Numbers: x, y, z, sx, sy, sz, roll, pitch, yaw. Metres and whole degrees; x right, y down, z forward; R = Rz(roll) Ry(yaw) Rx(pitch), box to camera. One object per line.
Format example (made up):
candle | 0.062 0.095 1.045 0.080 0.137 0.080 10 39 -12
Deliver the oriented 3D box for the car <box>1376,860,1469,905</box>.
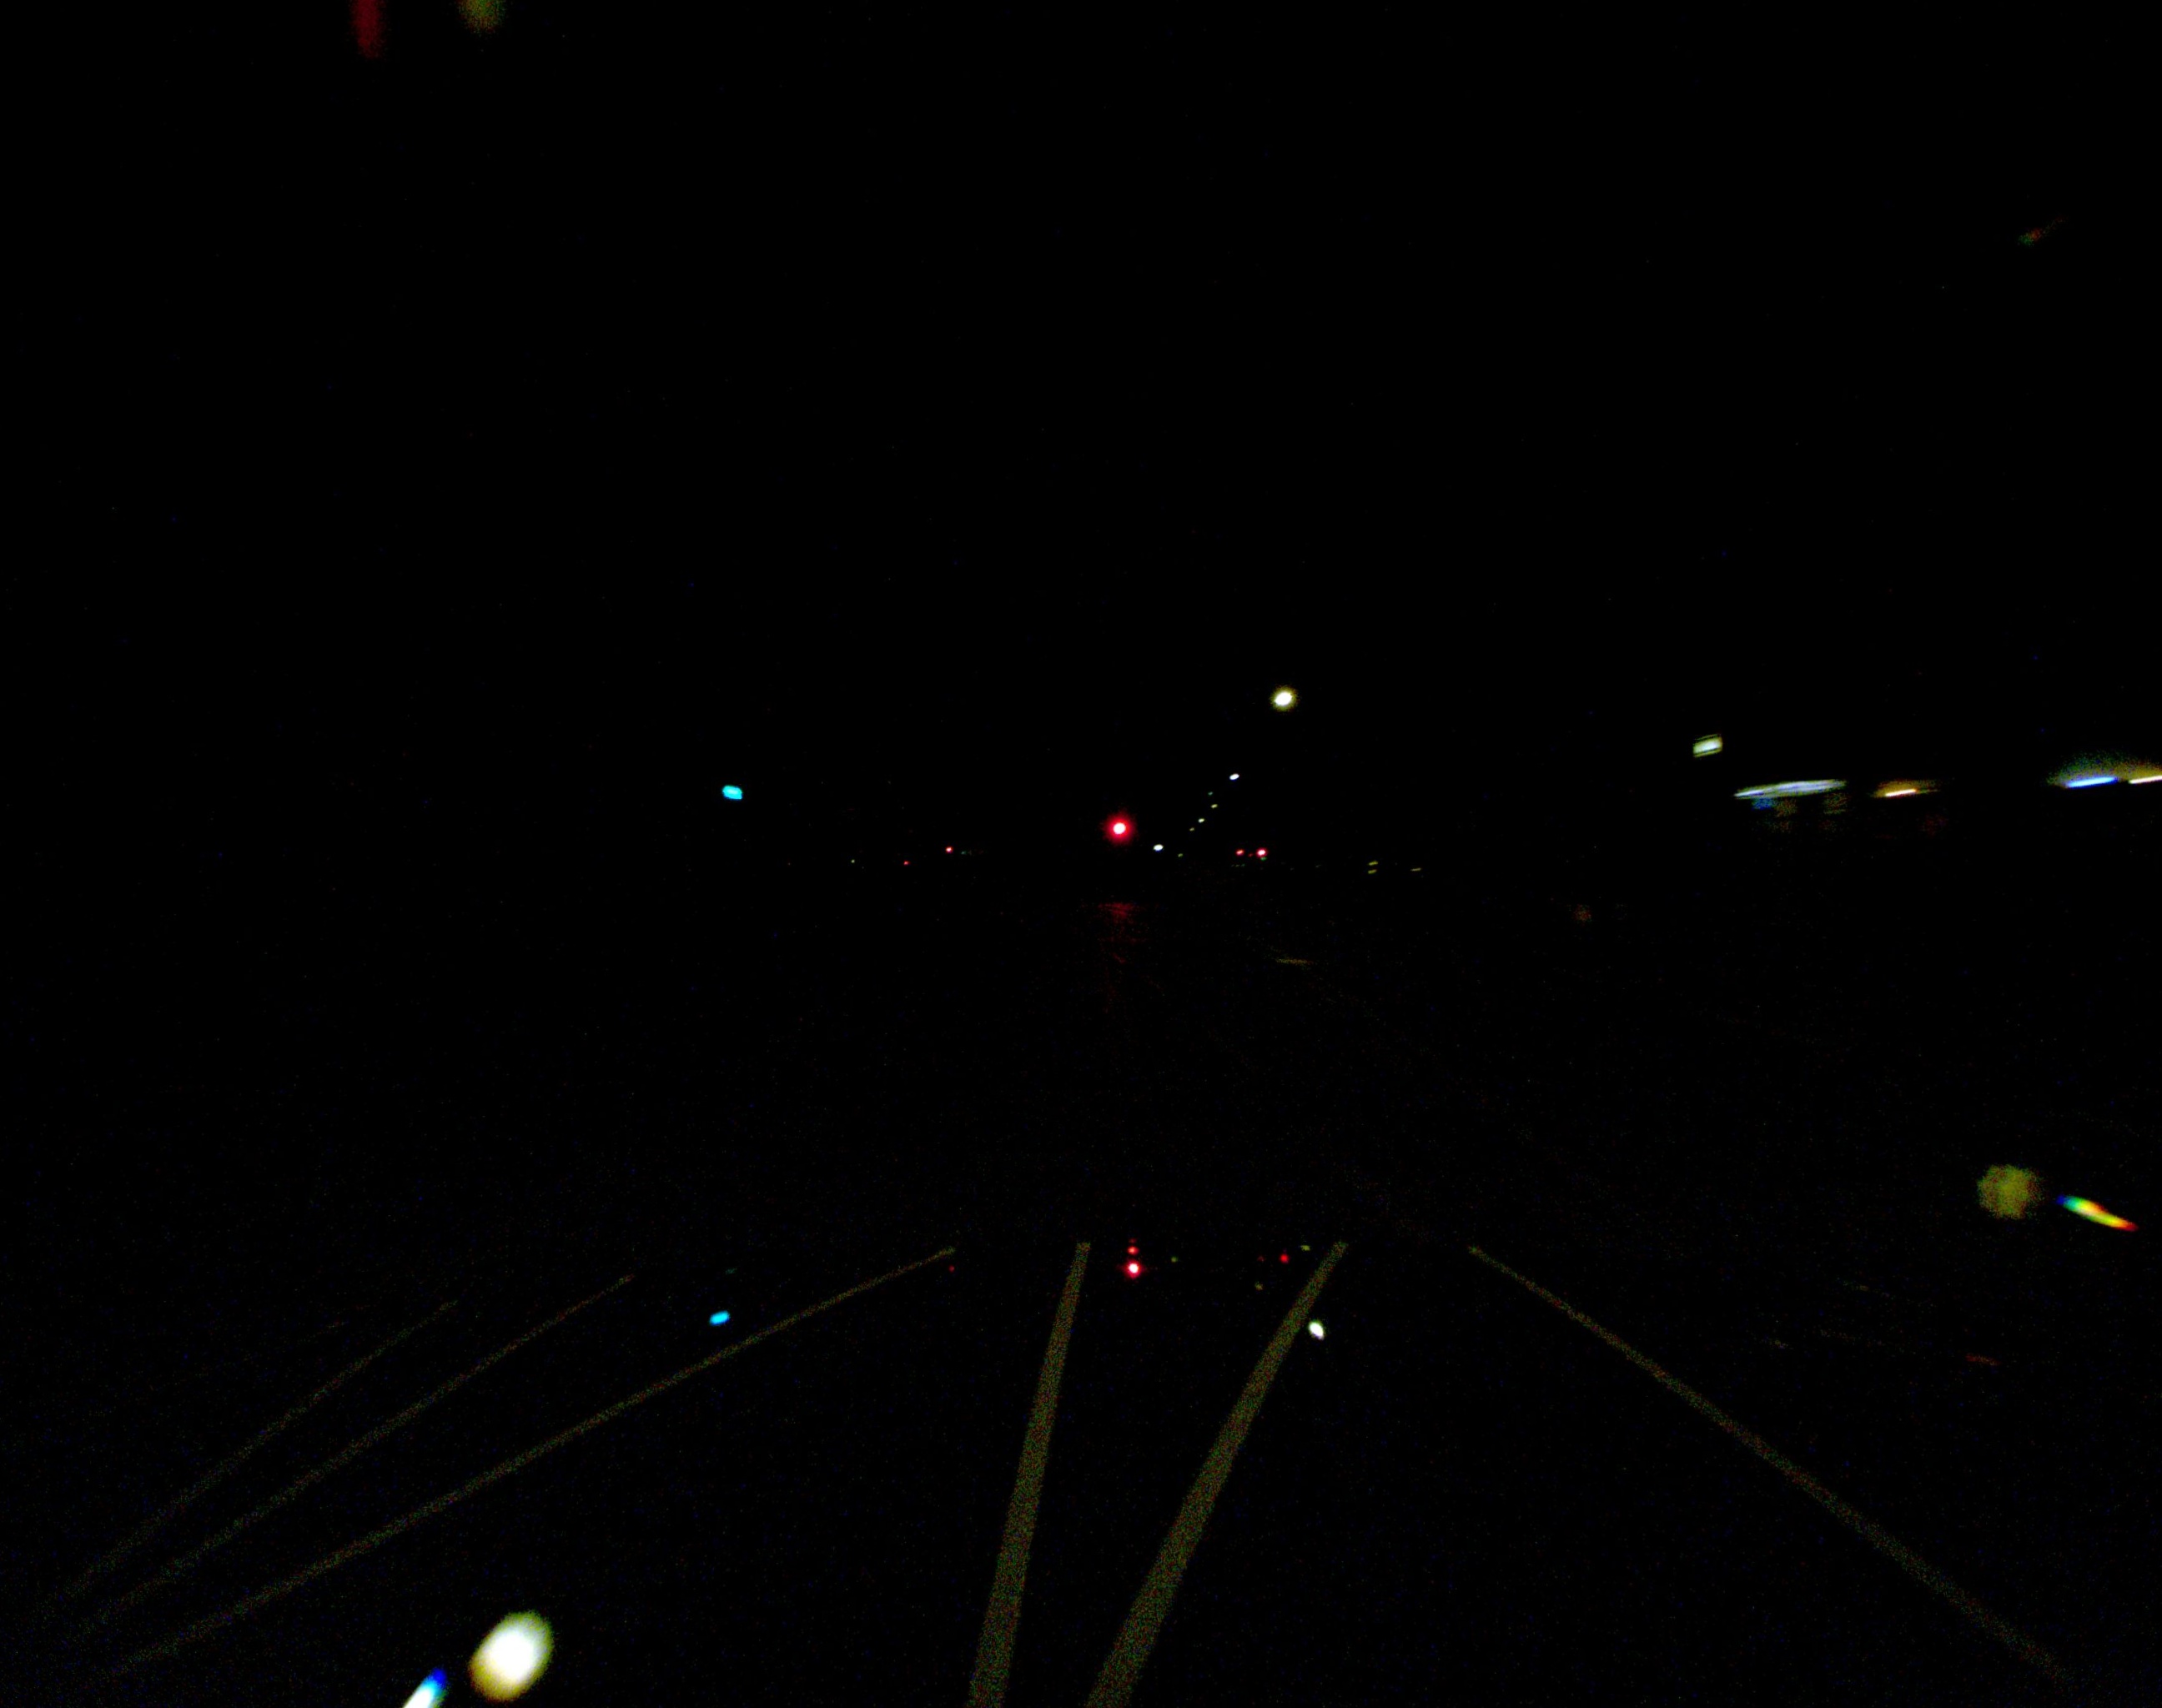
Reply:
car | 12.429 0.987 27.969 1.864 1.425 4.446 -2 0 7

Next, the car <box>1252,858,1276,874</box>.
car | 18.186 1.183 75.674 1.632 1.455 3.515 1 0 3

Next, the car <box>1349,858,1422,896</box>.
car | 13.121 0.948 33.042 1.864 1.470 4.475 -1 0 7

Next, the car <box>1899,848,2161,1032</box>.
car | 10.605 0.759 7.121 1.889 1.587 4.027 -2 0 9

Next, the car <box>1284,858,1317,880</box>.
car | 15.610 1.052 54.232 1.554 1.425 4.350 -2 0 7

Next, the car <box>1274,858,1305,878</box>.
car | 16.209 1.062 59.187 1.641 1.425 4.352 -2 0 7

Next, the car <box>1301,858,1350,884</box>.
car | 14.794 0.994 46.134 1.865 1.425 4.405 -1 0 5
